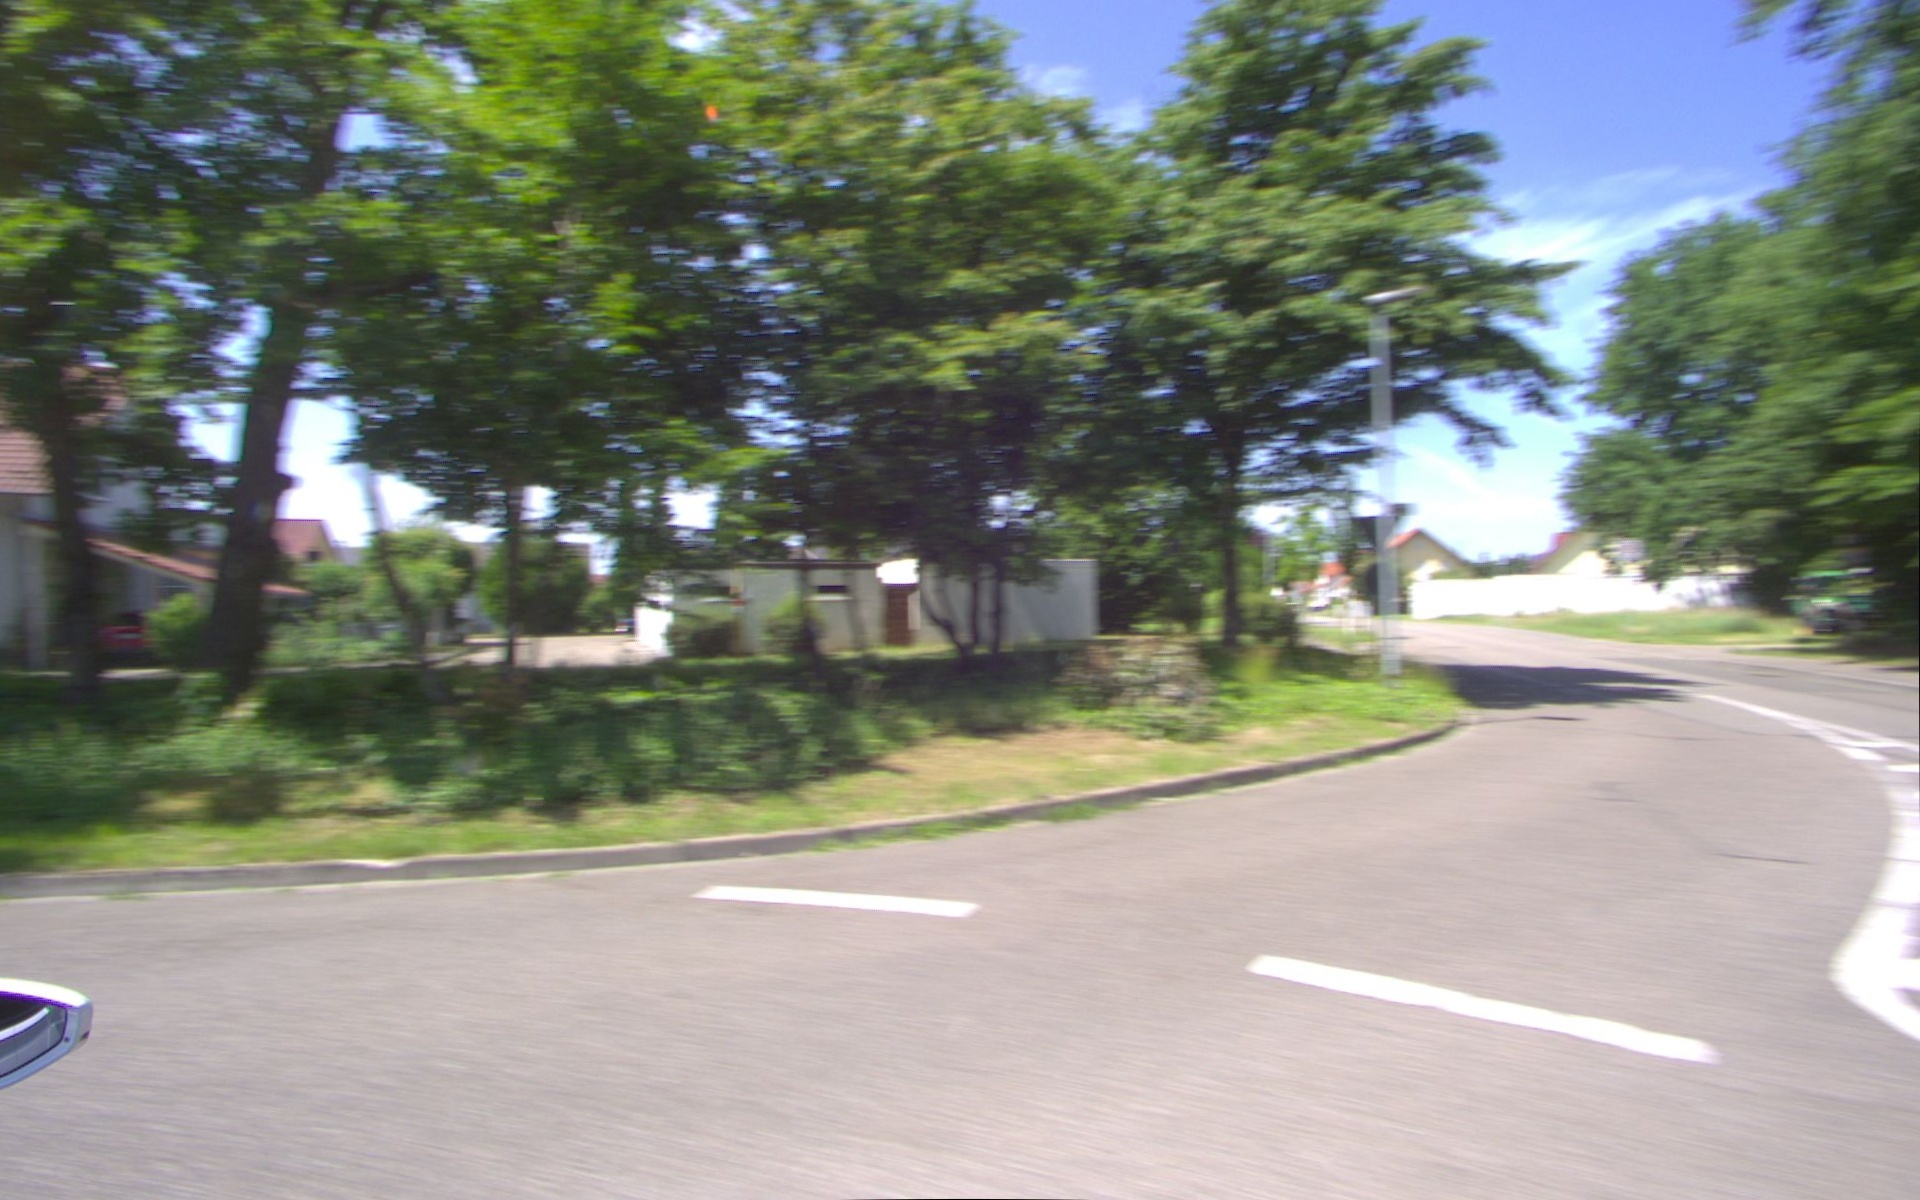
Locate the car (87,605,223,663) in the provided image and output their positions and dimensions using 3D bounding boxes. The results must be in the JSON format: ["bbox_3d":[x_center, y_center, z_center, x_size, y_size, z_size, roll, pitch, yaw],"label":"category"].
[{"bbox_3d":[-21.389,0.858,26.778,1.655,1.404,3.685,0,0,-19],"label":"car"}]

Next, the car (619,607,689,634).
[{"bbox_3d":[-15.494,1.016,50.668,3.225,1.270,1.568,0,0,-23],"label":"car"}]

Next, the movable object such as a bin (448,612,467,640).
[{"bbox_3d":[-20.481,1.062,40.845,0.648,1.127,0.455,-1,1,-23],"label":"movable object such as a bin"}]

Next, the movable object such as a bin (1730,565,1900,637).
[{"bbox_3d":[29.742,0.035,35.107,2.477,2.307,5.233,0,0,15],"label":"movable object such as a bin"}]
